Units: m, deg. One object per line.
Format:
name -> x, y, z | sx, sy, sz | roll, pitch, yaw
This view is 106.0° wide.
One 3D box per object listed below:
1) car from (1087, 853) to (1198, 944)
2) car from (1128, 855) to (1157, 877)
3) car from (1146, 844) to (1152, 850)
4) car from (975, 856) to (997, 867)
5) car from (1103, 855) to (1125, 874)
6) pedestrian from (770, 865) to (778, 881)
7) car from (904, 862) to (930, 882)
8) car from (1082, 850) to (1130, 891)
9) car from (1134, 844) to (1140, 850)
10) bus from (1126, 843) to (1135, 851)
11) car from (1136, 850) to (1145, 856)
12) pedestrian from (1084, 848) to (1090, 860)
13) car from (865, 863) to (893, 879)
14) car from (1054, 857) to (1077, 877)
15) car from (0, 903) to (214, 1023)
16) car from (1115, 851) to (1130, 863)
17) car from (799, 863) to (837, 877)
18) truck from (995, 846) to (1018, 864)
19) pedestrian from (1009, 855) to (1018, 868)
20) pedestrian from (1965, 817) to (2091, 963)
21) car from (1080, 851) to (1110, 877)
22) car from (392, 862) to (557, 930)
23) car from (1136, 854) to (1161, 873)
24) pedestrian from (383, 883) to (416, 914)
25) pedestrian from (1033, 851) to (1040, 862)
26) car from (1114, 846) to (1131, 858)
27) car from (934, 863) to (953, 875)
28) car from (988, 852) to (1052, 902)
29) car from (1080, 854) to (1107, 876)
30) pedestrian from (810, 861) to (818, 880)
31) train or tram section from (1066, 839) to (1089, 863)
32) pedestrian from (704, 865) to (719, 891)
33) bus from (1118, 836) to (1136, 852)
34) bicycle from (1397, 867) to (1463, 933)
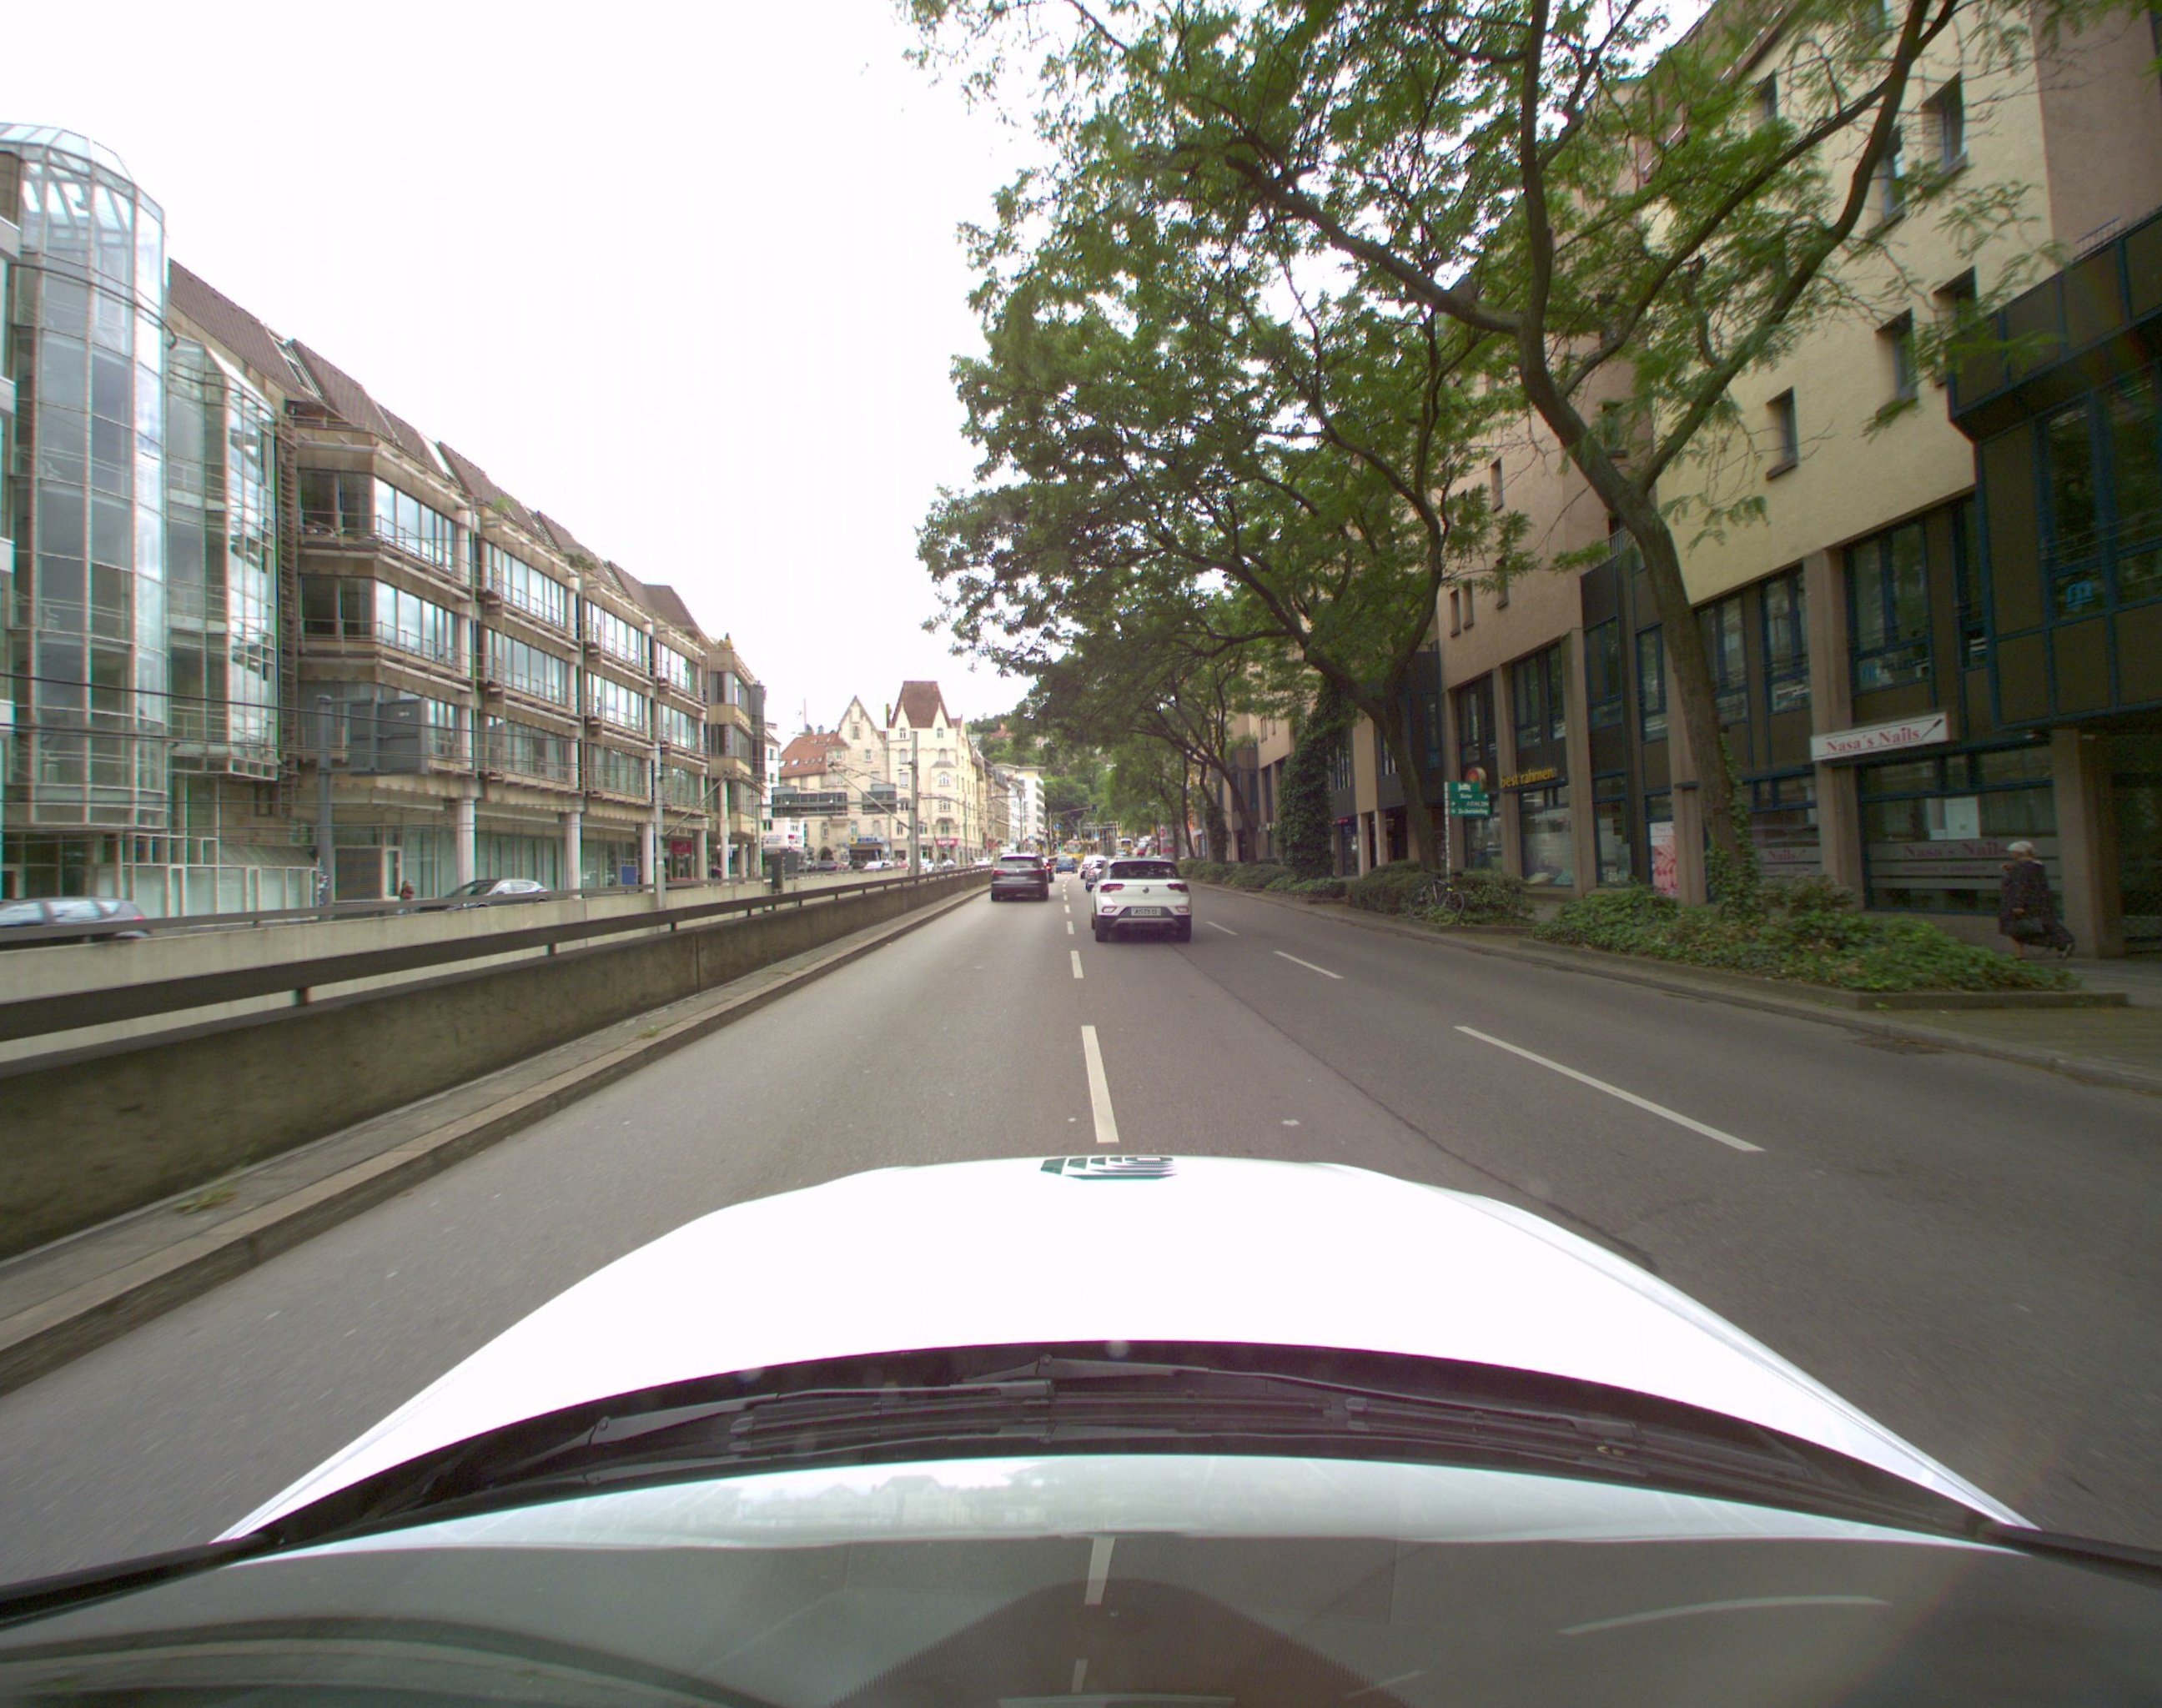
car -> 1.101, 0.796, 16.405 | 1.832, 1.584, 4.154 | 0, 0, -1
car -> 5.828, 1.120, 77.861 | 2.357, 2.014, 5.148 | 0, 0, 0
car -> 19.533, -2.062, 233.001 | 1.665, 1.561, 3.683 | -1, 0, 5
car -> -13.994, 1.149, 119.742 | 1.736, 1.561, 4.530 | -1, 0, 13
car -> 3.691, 1.182, 91.812 | 2.357, 2.014, 5.148 | 0, 0, 0
pedestrian -> -33.705, 2.066, 89.375 | 0.507, 1.780, 0.578 | -1, 0, 7
car -> -15.821, 1.734, 78.689 | 1.830, 1.842, 4.599 | 2, -1, -4
car -> 1.044, 0.695, 35.473 | 1.879, 1.684, 4.159 | 0, 0, -1
car -> 15.570, -1.928, 226.624 | 1.665, 1.561, 3.683 | -1, 0, 5
bus -> 12.792, -1.763, 209.811 | 1.987, 2.014, 4.000 | 0, -1, 0
car -> 11.721, -0.116, 160.507 | 1.574, 1.172, 3.683 | -1, 0, 5
pedestrian -> 0.910, -0.033, 120.634 | 0.682, 1.711, 0.713 | -1, 0, 5
car -> -20.731, 1.752, 83.605 | 1.658, 1.501, 4.414 | -2, 0, 1
car -> -1.332, 1.095, 70.870 | 1.879, 1.684, 4.159 | 0, 0, -1
car -> -19.394, 1.954, 15.067 | 1.988, 1.914, 4.376 | 0, -1, -1
car -> 5.909, 0.423, 114.934 | 1.875, 1.684, 4.167 | -1, 0, 6
car -> -30.505, 1.847, 94.480 | 4.043, 1.501, 1.658 | -2, 0, -20
truck -> -12.898, 0.227, 141.734 | 2.254, 3.076, 7.389 | -1, 0, 7
pedestrian -> -8.912, 0.978, 107.939 | 0.866, 1.705, 0.817 | -2, -1, 34
pedestrian -> 11.519, 0.423, 9.932 | 0.706, 1.711, 0.688 | -1, 0, 5
car -> 0.893, 0.654, 54.472 | 1.879, 1.684, 4.159 | 0, 0, -1
car -> -20.168, 1.305, 27.395 | 1.988, 1.963, 4.787 | -2, 0, -2
car -> 7.276, 1.025, 88.451 | 2.357, 2.014, 5.148 | 0, 0, 0
pedestrian -> -28.563, 1.860, 34.128 | 0.728, 1.265, 0.740 | 0, -1, 0
pedestrian -> -6.831, 0.399, 123.957 | 0.632, 1.762, 0.837 | -1, -1, -37
car -> 7.102, -0.383, 138.667 | 2.351, 2.014, 5.160 | -1, 0, 9
car -> -17.605, 1.886, 104.427 | 1.658, 1.501, 4.043 | -2, 0, 1
car -> -2.109, 0.778, 29.220 | 1.987, 1.636, 3.999 | -1, 0, 0
car -> 1.112, 1.016, 76.125 | 2.358, 2.014, 5.145 | 0, 0, -1
pedestrian -> -24.616, 1.524, 75.142 | 0.507, 1.780, 0.578 | -1, 0, 7
train or tram section -> -0.536, -0.472, 123.804 | 2.821, 3.678, 5.761 | -1, 0, 6
pedestrian -> -26.126, 1.661, 57.581 | 0.728, 1.811, 0.740 | 0, -1, 0
bus -> 9.962, -2.099, 174.910 | 3.356, 3.065, 13.343 | -1, 0, 5
bicycle -> 6.828, 0.868, 16.007 | 0.361, 1.201, 1.565 | -2, 0, -9
